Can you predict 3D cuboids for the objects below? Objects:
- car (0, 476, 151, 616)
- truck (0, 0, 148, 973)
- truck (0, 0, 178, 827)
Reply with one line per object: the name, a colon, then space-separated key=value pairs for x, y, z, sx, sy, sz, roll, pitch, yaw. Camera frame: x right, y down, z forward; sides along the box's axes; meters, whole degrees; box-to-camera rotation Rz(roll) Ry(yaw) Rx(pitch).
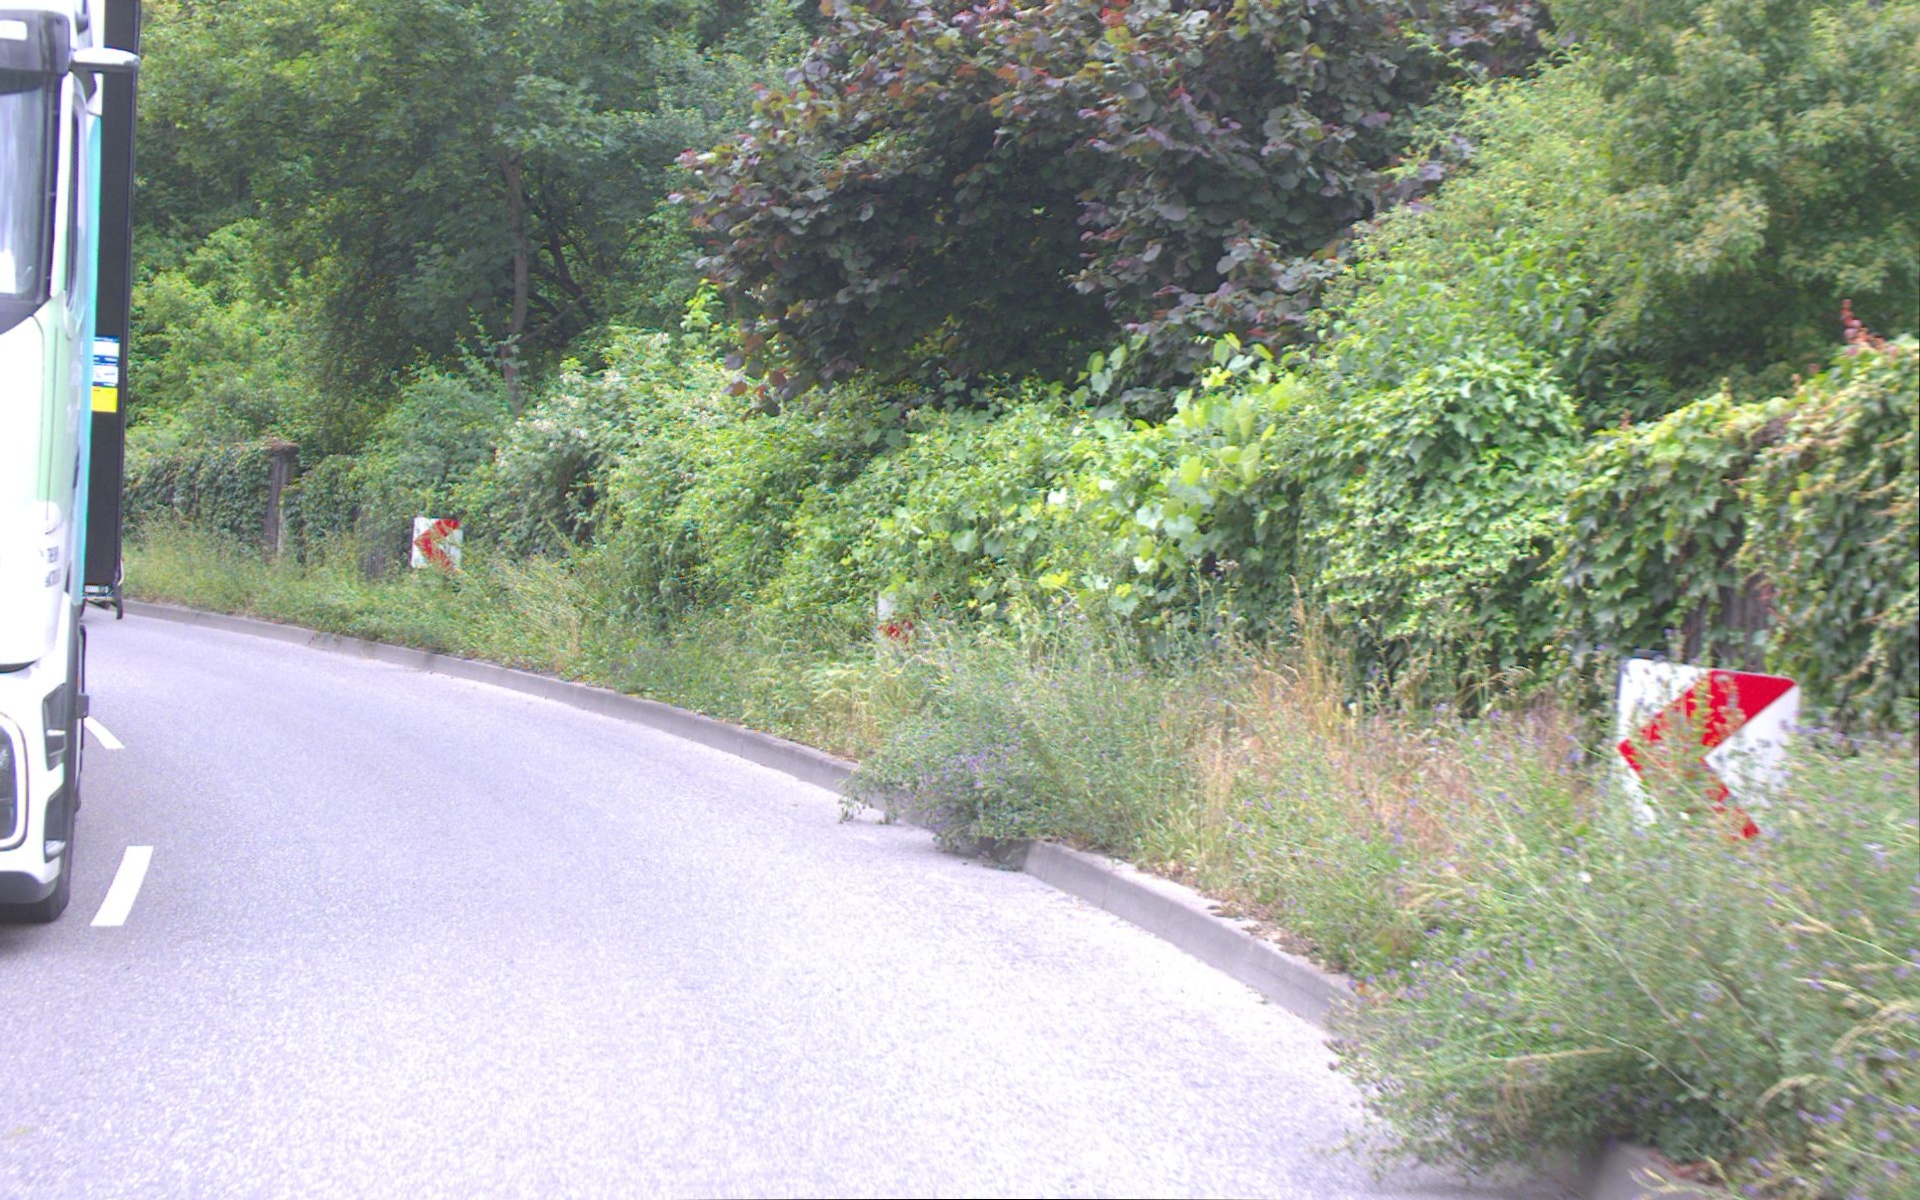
car: x=-10.533 y=-0.574 z=38.930 sx=1.839 sy=1.478 sz=4.001 roll=-2 pitch=0 yaw=-25
truck: x=-4.747 y=-0.873 z=13.967 sx=2.704 sy=3.936 sz=6.332 roll=0 pitch=2 yaw=-12
truck: x=-6.489 y=-1.203 z=22.173 sx=2.704 sy=3.936 sz=13.840 roll=0 pitch=2 yaw=-12
